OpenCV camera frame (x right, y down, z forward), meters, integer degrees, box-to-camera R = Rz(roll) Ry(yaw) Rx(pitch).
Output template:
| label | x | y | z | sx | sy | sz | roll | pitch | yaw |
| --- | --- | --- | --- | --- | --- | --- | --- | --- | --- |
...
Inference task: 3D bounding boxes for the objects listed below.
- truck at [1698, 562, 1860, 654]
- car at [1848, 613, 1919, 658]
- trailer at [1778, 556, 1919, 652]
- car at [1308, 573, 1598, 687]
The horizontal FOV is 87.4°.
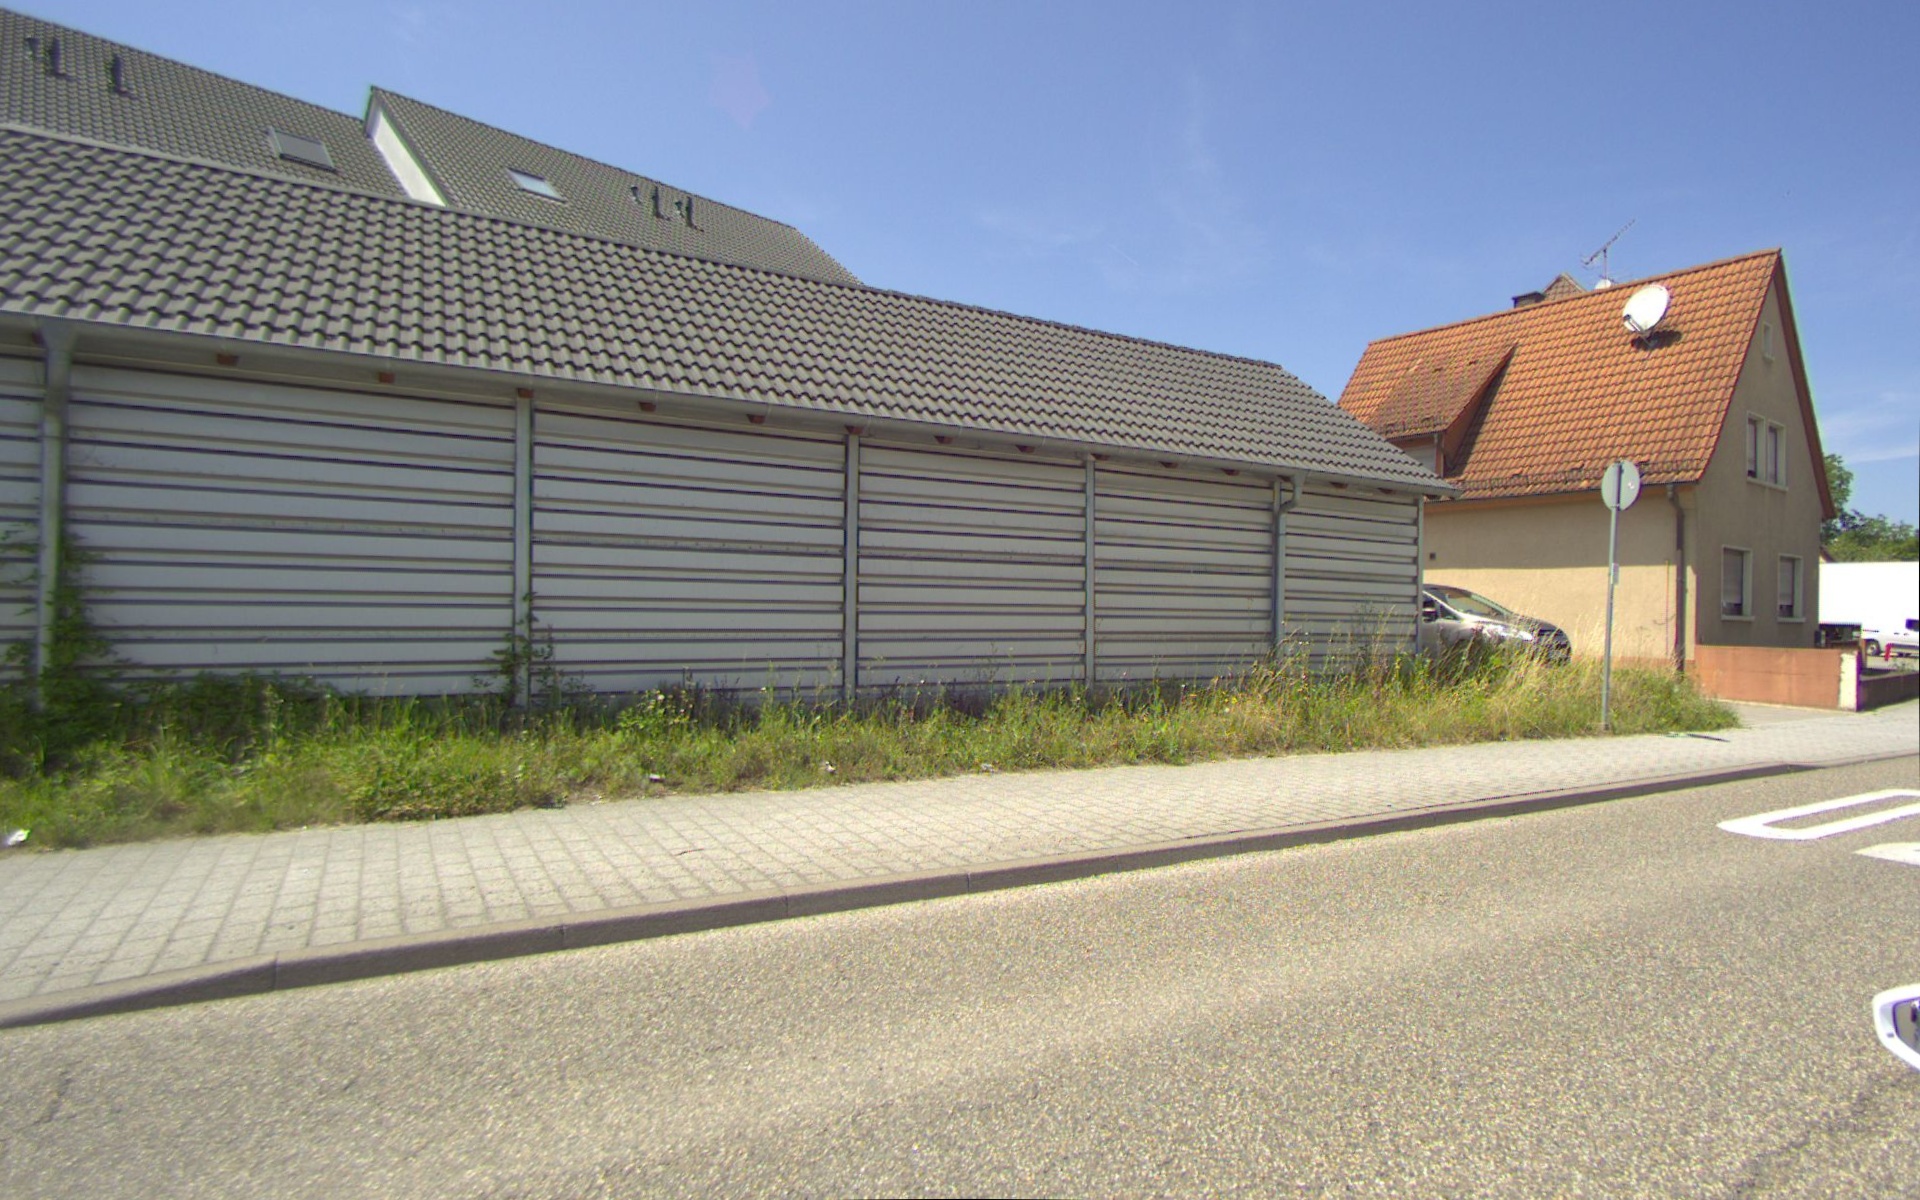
| label | x | y | z | sx | sy | sz | roll | pitch | yaw |
| --- | --- | --- | --- | --- | --- | --- | --- | --- | --- |
| truck | 42.829 | 0.421 | 52.775 | 3.062 | 4.459 | 5.918 | 2 | 0 | -14 |
| car | 40.316 | 1.480 | 42.119 | 1.845 | 1.809 | 4.515 | 0 | 0 | -9 |
| trailer | 44.684 | 0.232 | 45.537 | 3.089 | 4.334 | 12.461 | 2 | -1 | -13 |
| car | 8.103 | 0.492 | 16.919 | 1.842 | 1.659 | 4.107 | 1 | -1 | -28 |
